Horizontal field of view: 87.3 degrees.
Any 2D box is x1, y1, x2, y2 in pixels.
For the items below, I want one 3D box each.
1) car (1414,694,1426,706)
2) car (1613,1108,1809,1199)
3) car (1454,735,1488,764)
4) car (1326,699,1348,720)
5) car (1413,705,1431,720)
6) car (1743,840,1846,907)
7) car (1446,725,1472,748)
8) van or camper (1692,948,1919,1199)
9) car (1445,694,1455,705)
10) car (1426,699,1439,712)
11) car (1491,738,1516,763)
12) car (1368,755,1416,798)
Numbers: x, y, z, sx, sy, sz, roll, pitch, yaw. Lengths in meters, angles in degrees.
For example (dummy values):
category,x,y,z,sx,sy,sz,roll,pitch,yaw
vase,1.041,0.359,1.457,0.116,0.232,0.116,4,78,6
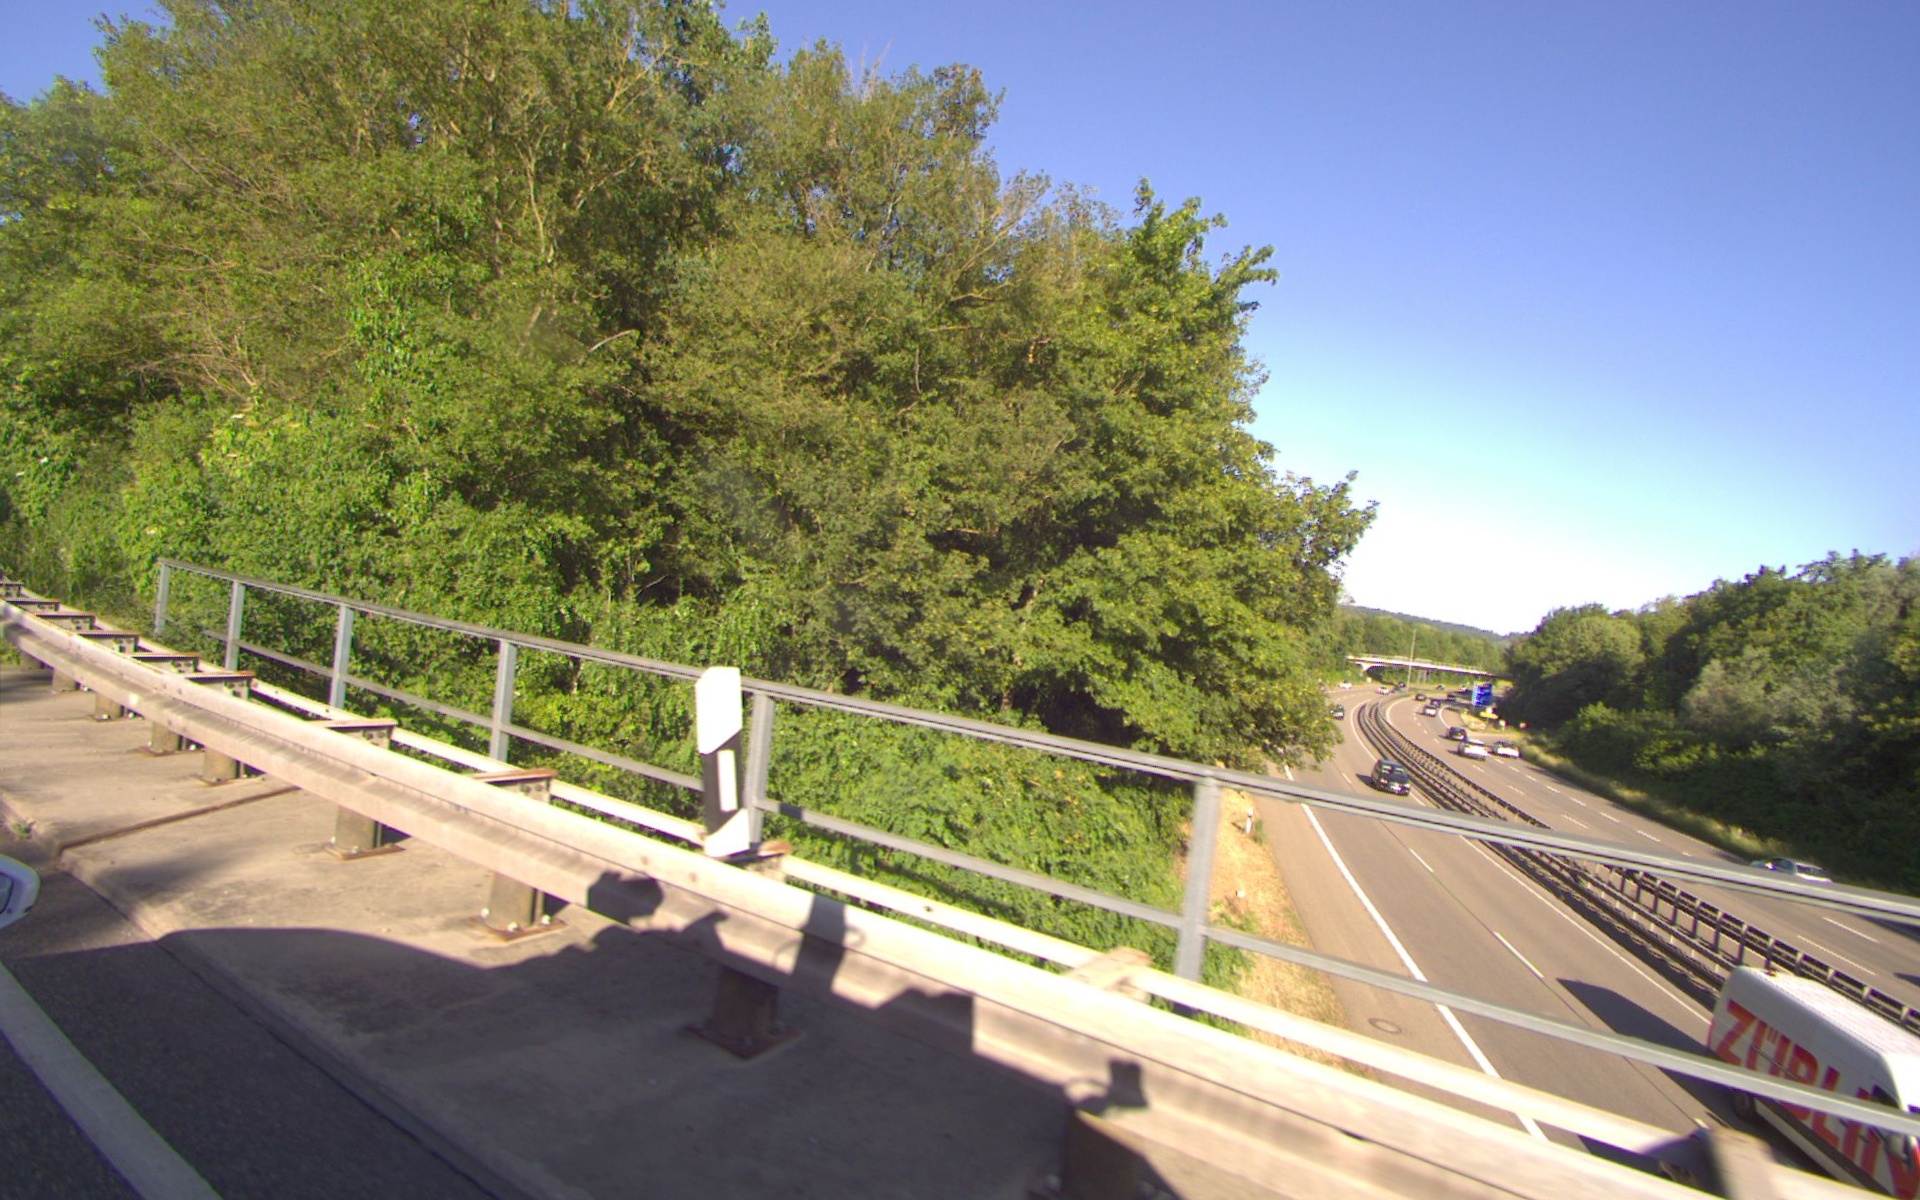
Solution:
category,x,y,z,sx,sy,sz,roll,pitch,yaw
car,89.232,19.374,195.261,1.728,1.861,3.997,8,1,24
car,9.886,8.102,12.721,1.388,1.357,3.584,9,1,12
car,44.662,13.061,88.015,1.855,1.860,3.837,9,1,18
car,44.309,12.887,118.307,1.962,2.038,4.003,4,-1,15
car,68.228,16.609,148.612,1.727,1.860,4.001,9,0,19
car,36.589,11.951,44.252,1.710,1.682,3.871,9,1,12
car,53.051,14.504,107.040,1.727,1.860,4.001,9,0,19
van or camper,15.775,8.652,17.288,2.179,2.678,6.828,10,1,12
car,106.803,21.668,219.273,1.728,1.860,3.999,8,0,24
car,84.576,18.926,180.196,1.728,1.860,3.999,8,0,24
car,51.772,14.343,95.891,1.729,1.860,3.873,9,0,27
car,25.912,10.567,60.436,1.865,1.816,3.905,9,-1,15
